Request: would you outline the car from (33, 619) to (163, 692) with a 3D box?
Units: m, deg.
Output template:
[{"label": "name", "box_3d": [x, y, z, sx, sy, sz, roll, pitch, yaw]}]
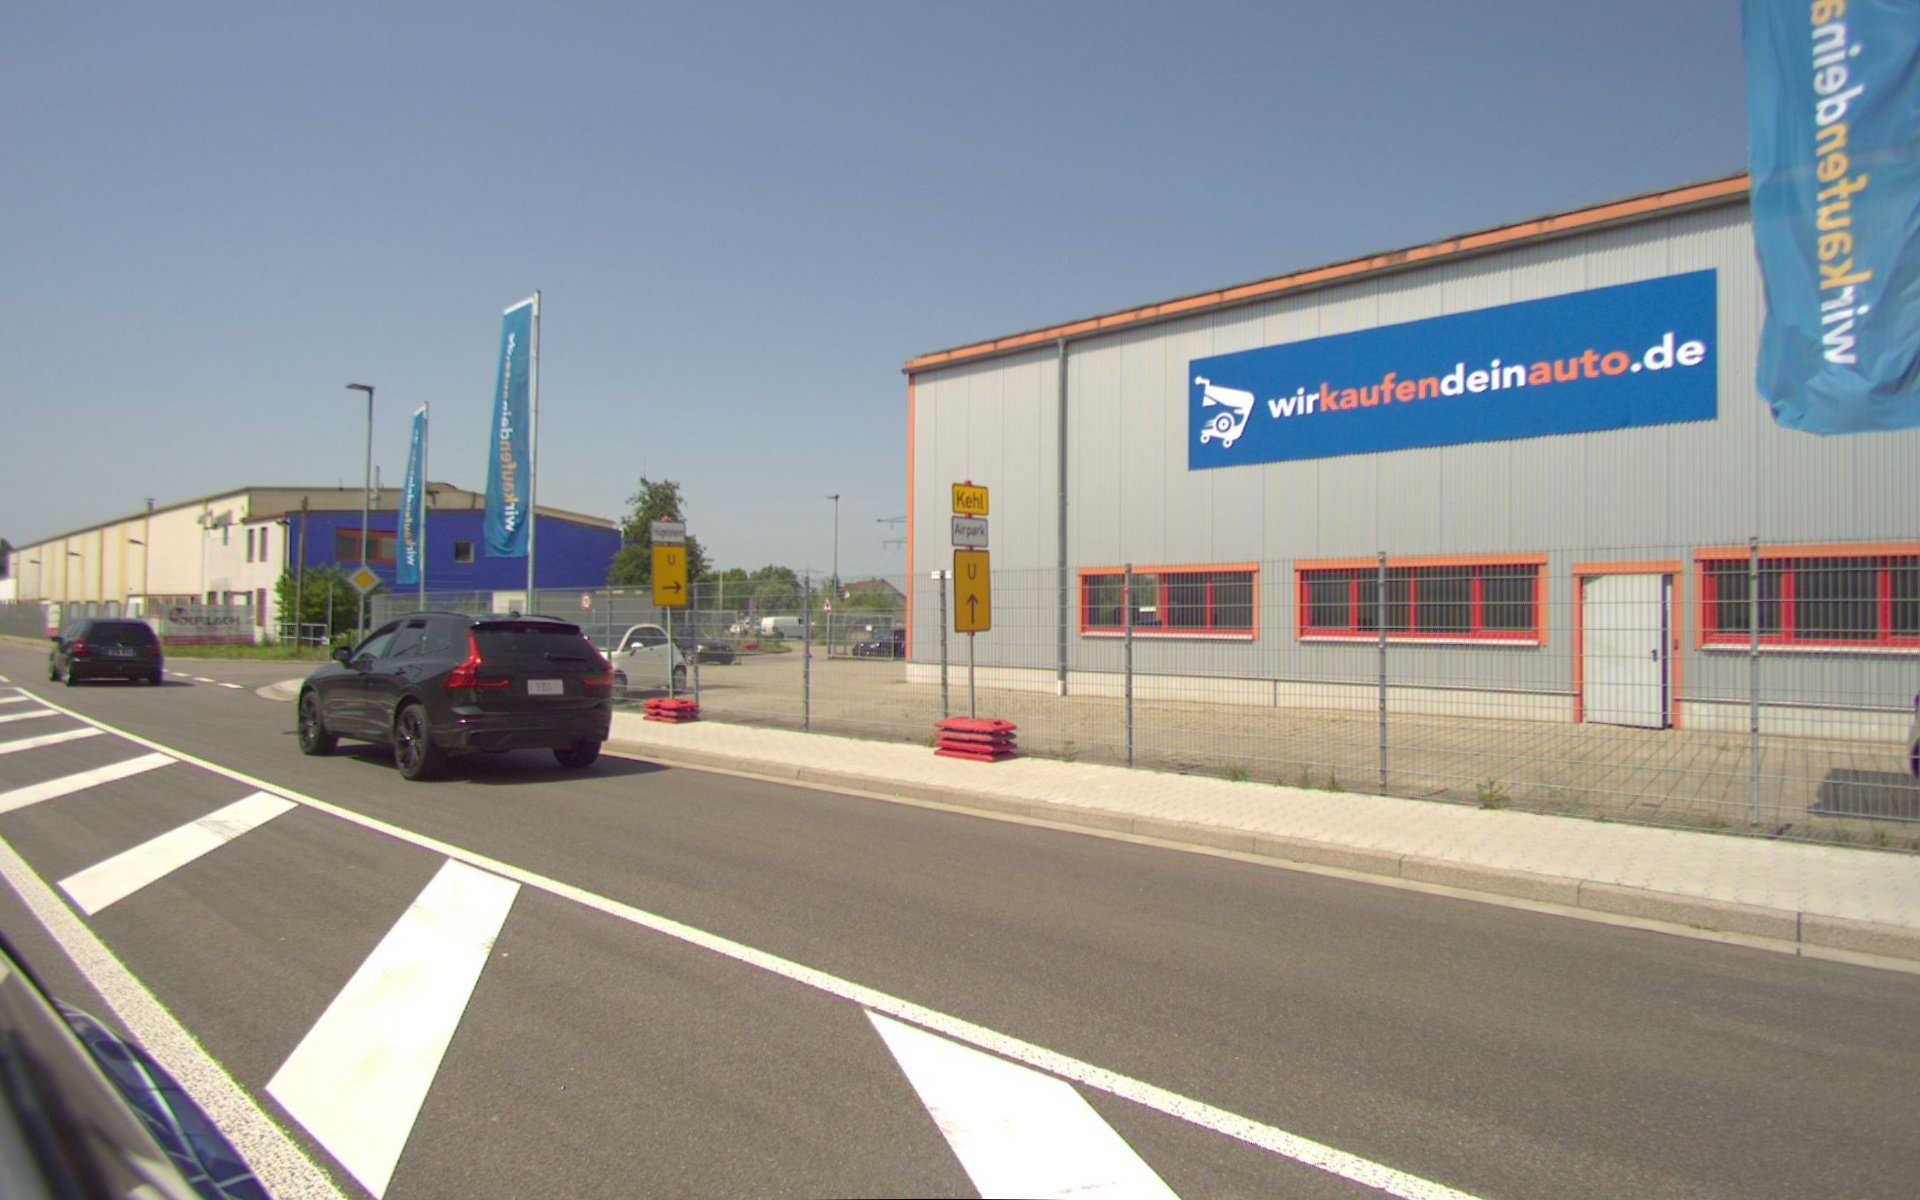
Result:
[{"label": "car", "box_3d": [-20.727, 1.301, 24.294, 3.793, 1.606, 1.723, -1, -4, 41]}]

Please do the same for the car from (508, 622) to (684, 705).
[{"label": "car", "box_3d": [-7.057, 1.179, 19.962, 1.575, 1.476, 3.470, 0, -2, 15]}]

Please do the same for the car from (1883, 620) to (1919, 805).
[{"label": "car", "box_3d": [8.529, 0.869, 6.456, 1.722, 1.505, 4.087, 0, -2, 5]}]

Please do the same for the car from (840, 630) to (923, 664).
[{"label": "car", "box_3d": [-3.620, 2.191, 47.282, 1.771, 1.514, 3.952, -2, -3, 35]}]

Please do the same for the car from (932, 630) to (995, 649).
[{"label": "car", "box_3d": [0.263, 3.083, 79.457, 4.554, 1.438, 1.981, -1, -3, 27]}]

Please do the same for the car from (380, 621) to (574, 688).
[{"label": "car", "box_3d": [-11.775, 1.308, 24.889, 1.772, 1.514, 3.950, -1, -3, 37]}]

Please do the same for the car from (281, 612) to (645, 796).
[{"label": "car", "box_3d": [-5.584, 0.986, 11.119, 4.518, 1.629, 1.862, -1, -3, 40]}]

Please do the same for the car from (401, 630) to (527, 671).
[{"label": "car", "box_3d": [-19.340, 1.939, 39.565, 4.099, 1.514, 1.777, 2, -3, -43]}]

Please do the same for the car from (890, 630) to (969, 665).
[{"label": "car", "box_3d": [-1.348, 2.172, 46.406, 1.771, 1.514, 3.765, -2, -3, 35]}]
